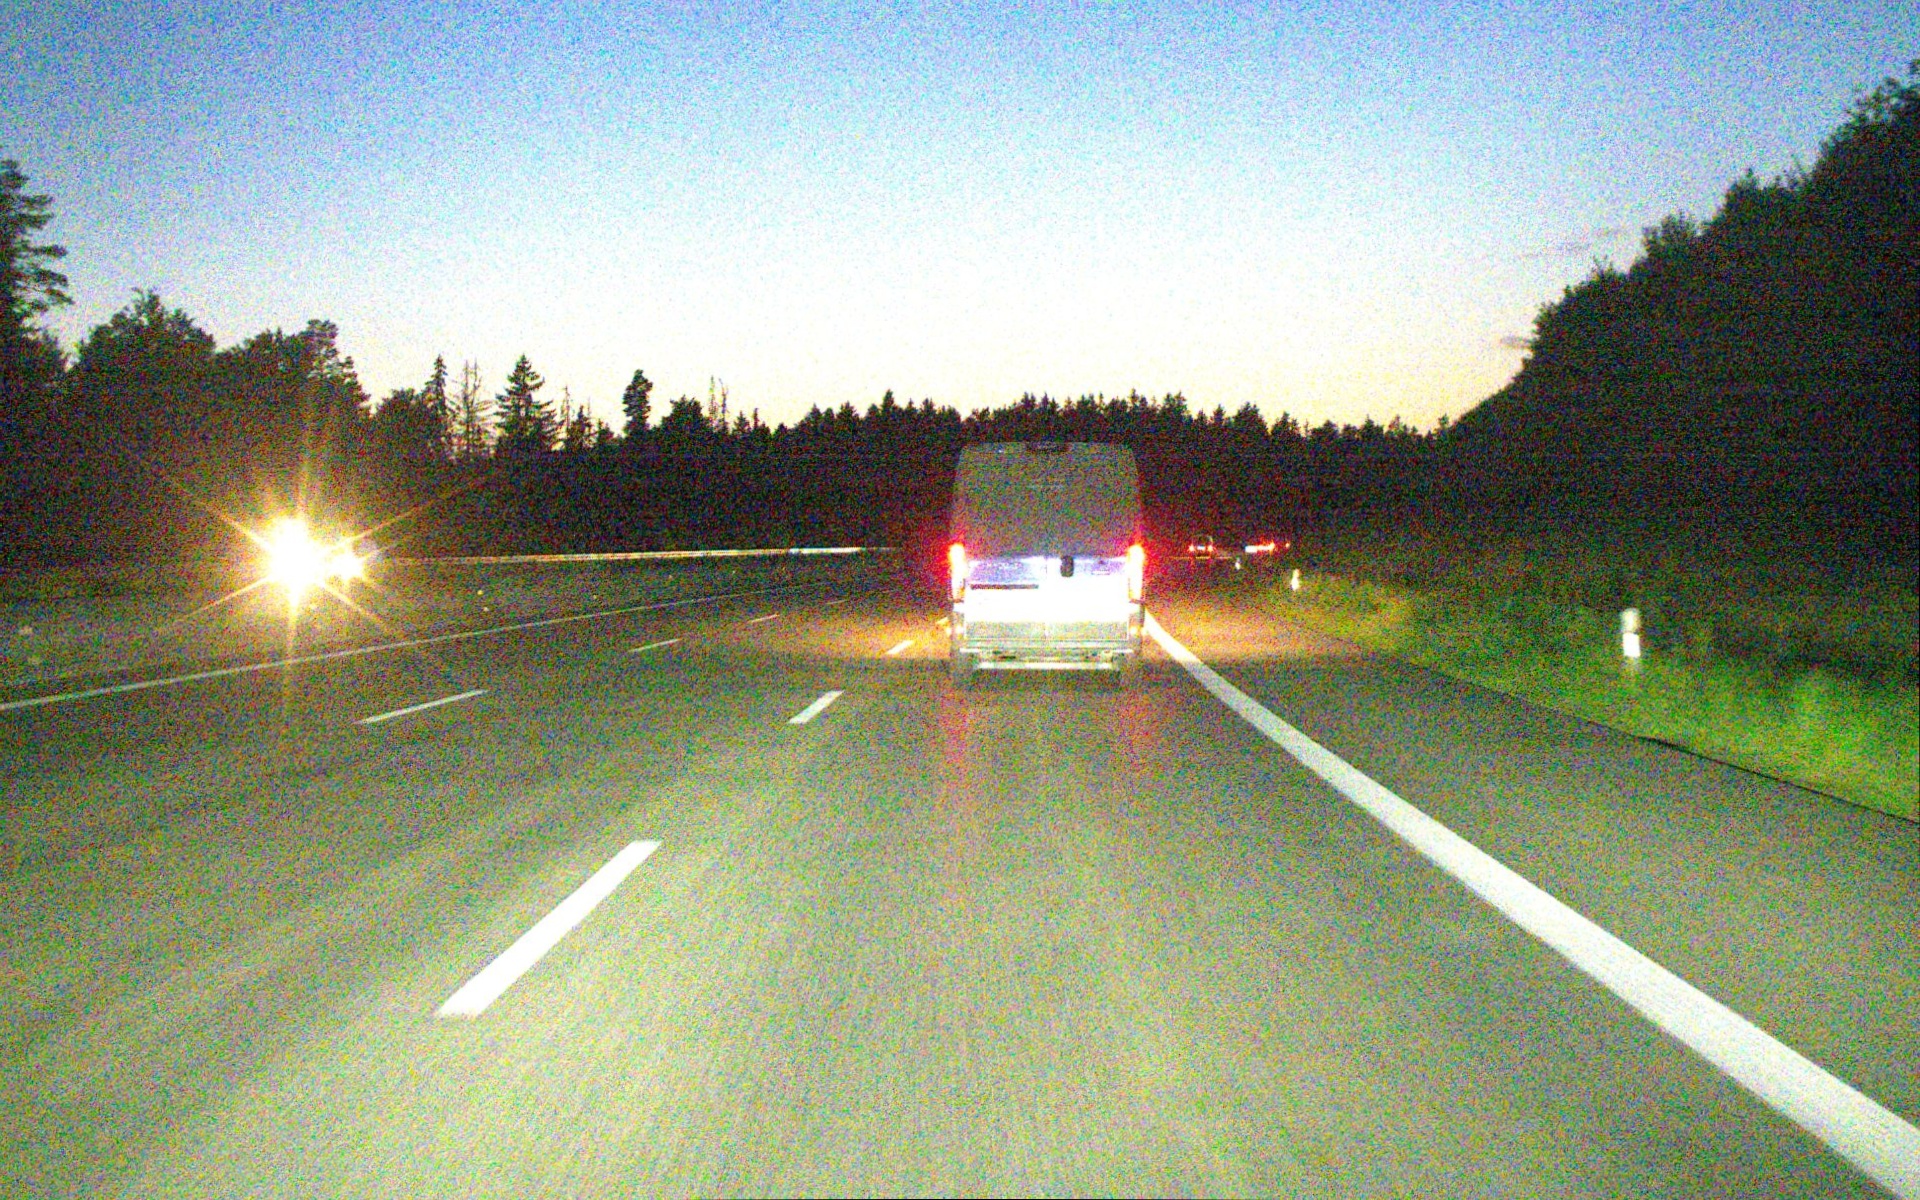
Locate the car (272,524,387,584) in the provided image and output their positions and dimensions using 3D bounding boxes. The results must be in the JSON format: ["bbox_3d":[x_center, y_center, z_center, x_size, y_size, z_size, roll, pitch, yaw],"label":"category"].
[{"bbox_3d":[-16.884,-1.225,92.252,1.994,1.574,4.584,0,0,3],"label":"car"}]

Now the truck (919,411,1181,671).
[{"bbox_3d":[0.973,-0.623,38.930,2.630,2.615,8.684,0,0,1],"label":"truck"}]
